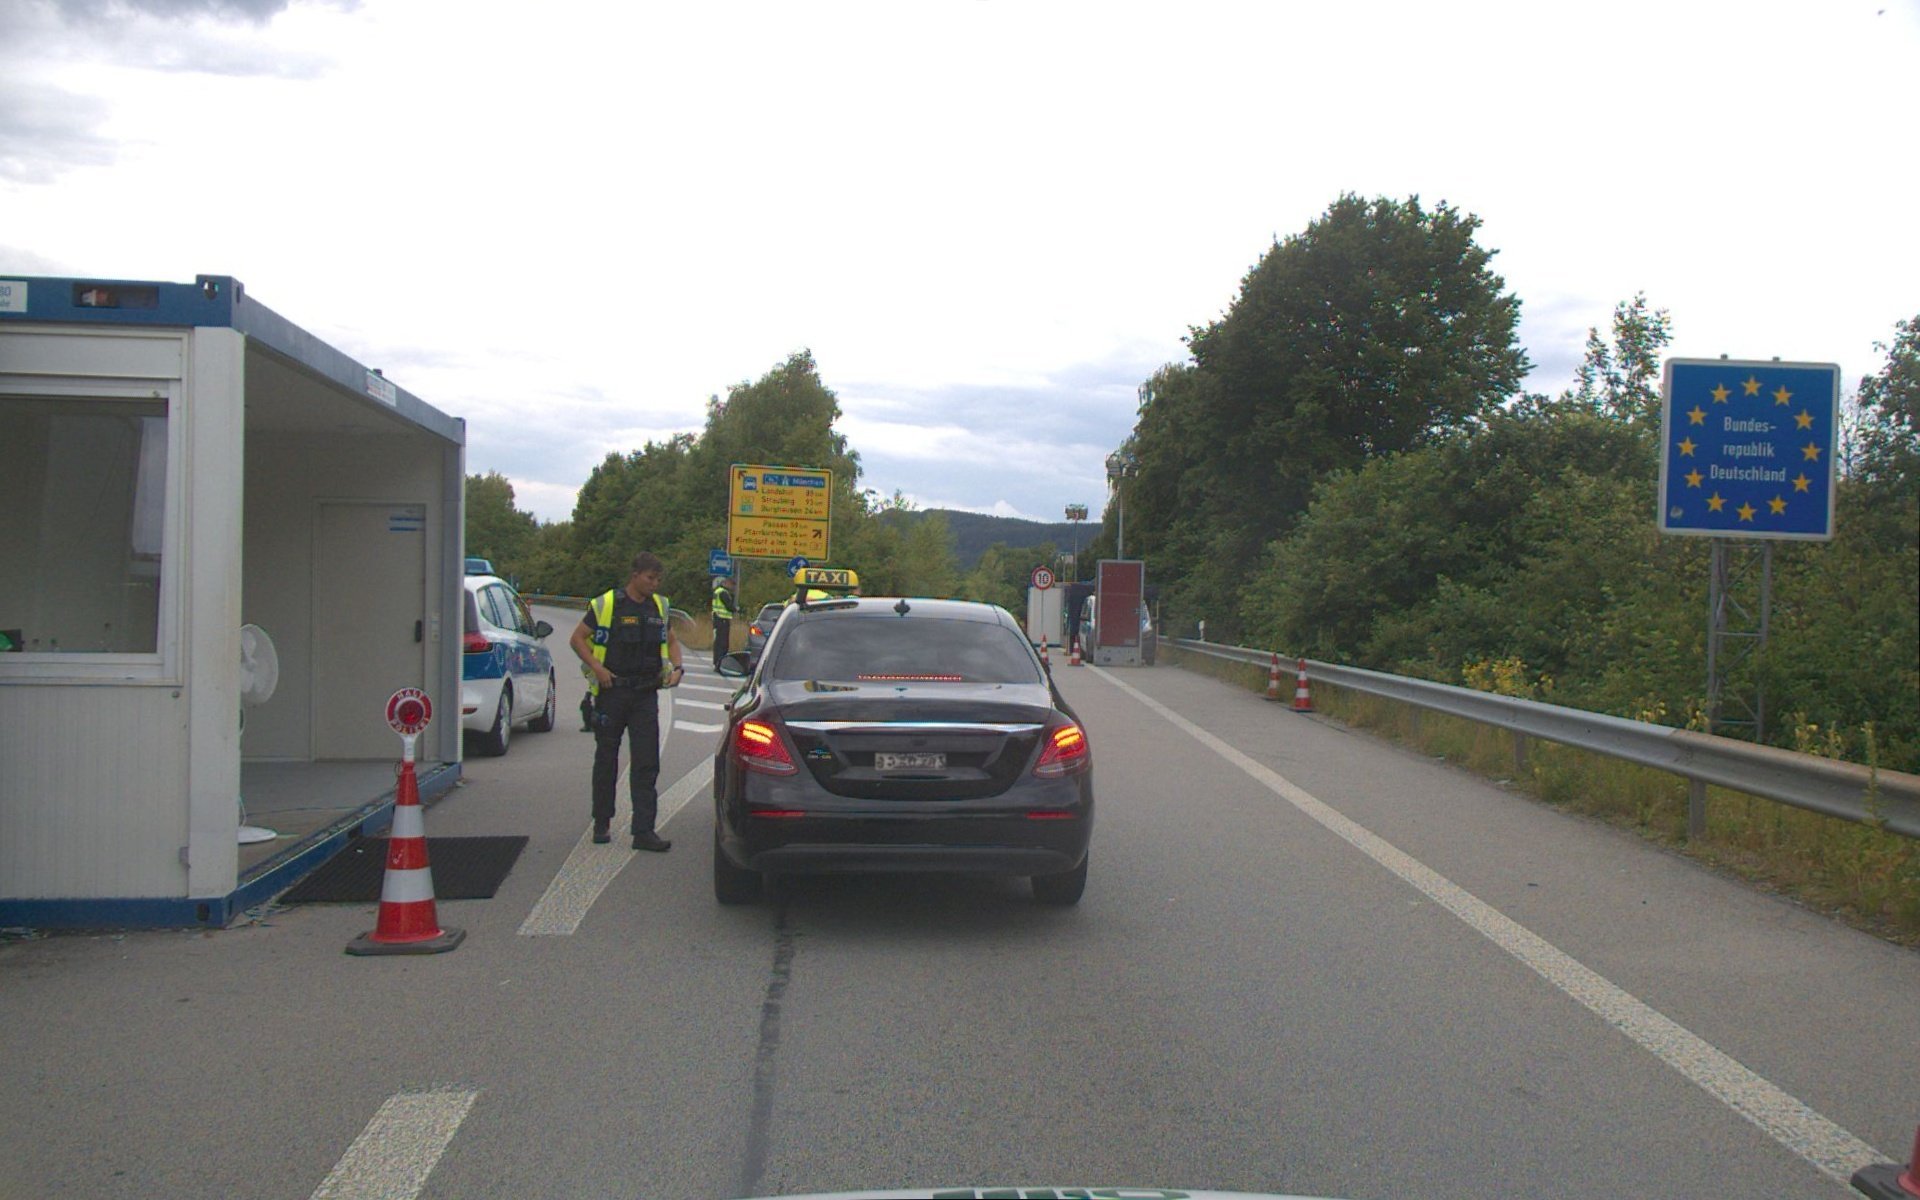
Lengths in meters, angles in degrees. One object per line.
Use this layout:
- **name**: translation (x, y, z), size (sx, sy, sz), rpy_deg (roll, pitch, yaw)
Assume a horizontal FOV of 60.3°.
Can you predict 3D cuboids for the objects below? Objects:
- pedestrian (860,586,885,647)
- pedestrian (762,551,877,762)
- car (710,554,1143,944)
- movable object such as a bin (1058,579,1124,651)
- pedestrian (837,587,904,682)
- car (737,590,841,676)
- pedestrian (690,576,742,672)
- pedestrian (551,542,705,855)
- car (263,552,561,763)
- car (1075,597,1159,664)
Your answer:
- **pedestrian**: translation (-2.925, 0.546, 55.323), size (0.650, 1.995, 0.760), rpy_deg (0, 0, 15)
- **pedestrian**: translation (-1.269, 0.495, 15.066), size (0.795, 1.862, 0.810), rpy_deg (0, 0, 15)
- **car**: translation (-0.342, 0.625, 9.168), size (1.819, 1.623, 4.370), rpy_deg (1, 0, -6)
- **movable object such as a bin**: translation (4.403, 0.498, 55.970), size (1.952, 2.320, 4.168), rpy_deg (1, 0, 1)
- **pedestrian**: translation (-1.663, 0.626, 30.626), size (0.900, 1.727, 0.903), rpy_deg (1, -1, -33)
- **car**: translation (-3.231, 0.589, 31.958), size (1.819, 1.524, 4.253), rpy_deg (1, 0, -4)
- **pedestrian**: translation (-4.641, 0.453, 31.509), size (0.893, 1.800, 0.911), rpy_deg (1, 0, -4)
- **pedestrian**: translation (-1.968, 0.551, 9.748), size (0.749, 1.748, 0.813), rpy_deg (1, 0, -22)
- **car**: translation (-5.118, 0.485, 16.018), size (1.832, 1.774, 4.004), rpy_deg (1, 0, -5)
- **car**: translation (4.416, 0.812, 47.126), size (1.877, 1.707, 5.083), rpy_deg (3, 0, 0)
